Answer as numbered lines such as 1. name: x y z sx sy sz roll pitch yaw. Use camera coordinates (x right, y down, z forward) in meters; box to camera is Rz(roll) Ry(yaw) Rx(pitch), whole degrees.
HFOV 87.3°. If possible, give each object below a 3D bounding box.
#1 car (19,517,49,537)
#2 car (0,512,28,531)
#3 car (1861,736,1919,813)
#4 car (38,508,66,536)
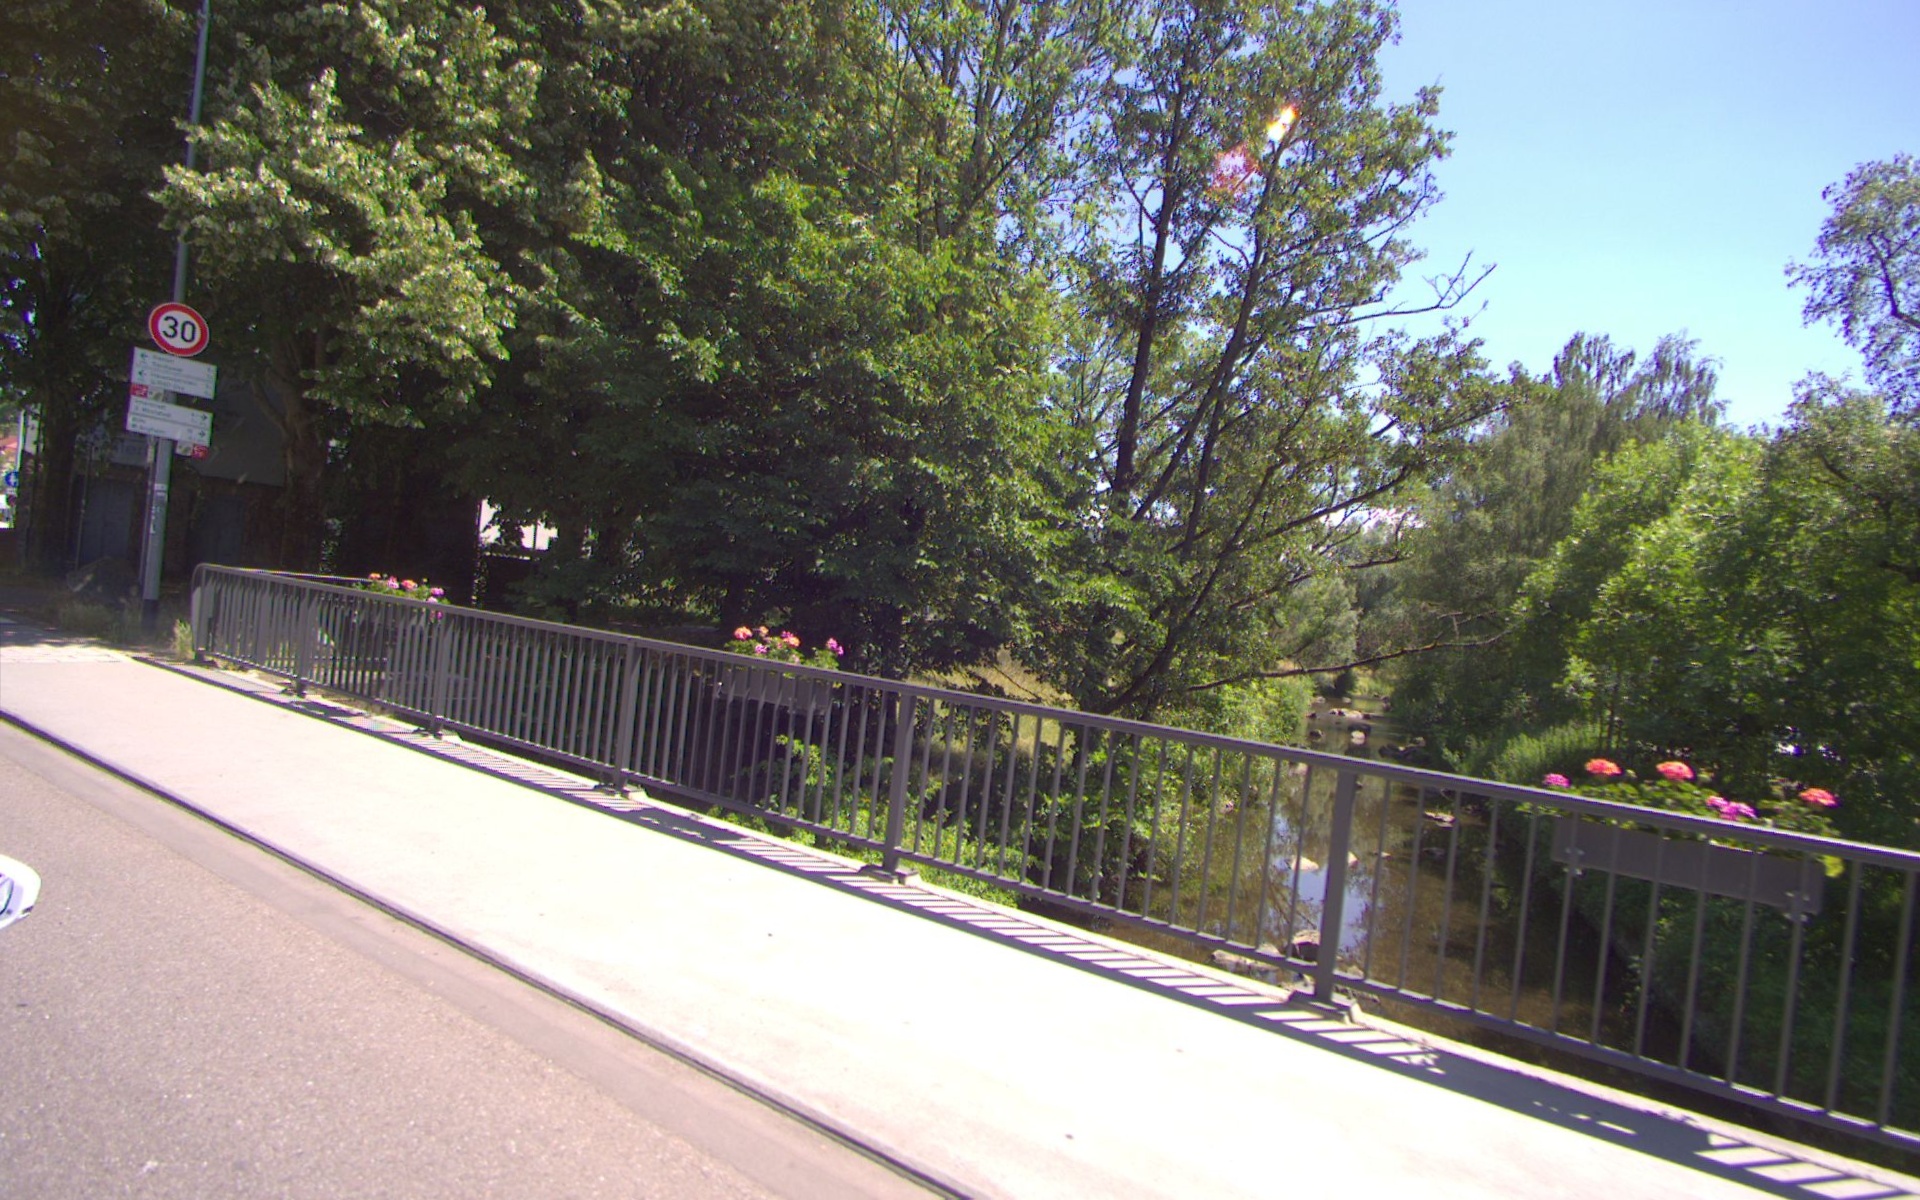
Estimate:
1. car: -94.159 -7.462 102.284 3.950 1.760 1.988 5 -1 45
2. car: -103.645 -8.553 109.948 3.941 1.713 1.992 6 -1 39
3. car: 21.301 3.870 21.355 1.728 1.440 4.512 4 -2 22
4. car: -87.086 -7.501 96.465 1.860 2.430 4.760 6 0 -43
